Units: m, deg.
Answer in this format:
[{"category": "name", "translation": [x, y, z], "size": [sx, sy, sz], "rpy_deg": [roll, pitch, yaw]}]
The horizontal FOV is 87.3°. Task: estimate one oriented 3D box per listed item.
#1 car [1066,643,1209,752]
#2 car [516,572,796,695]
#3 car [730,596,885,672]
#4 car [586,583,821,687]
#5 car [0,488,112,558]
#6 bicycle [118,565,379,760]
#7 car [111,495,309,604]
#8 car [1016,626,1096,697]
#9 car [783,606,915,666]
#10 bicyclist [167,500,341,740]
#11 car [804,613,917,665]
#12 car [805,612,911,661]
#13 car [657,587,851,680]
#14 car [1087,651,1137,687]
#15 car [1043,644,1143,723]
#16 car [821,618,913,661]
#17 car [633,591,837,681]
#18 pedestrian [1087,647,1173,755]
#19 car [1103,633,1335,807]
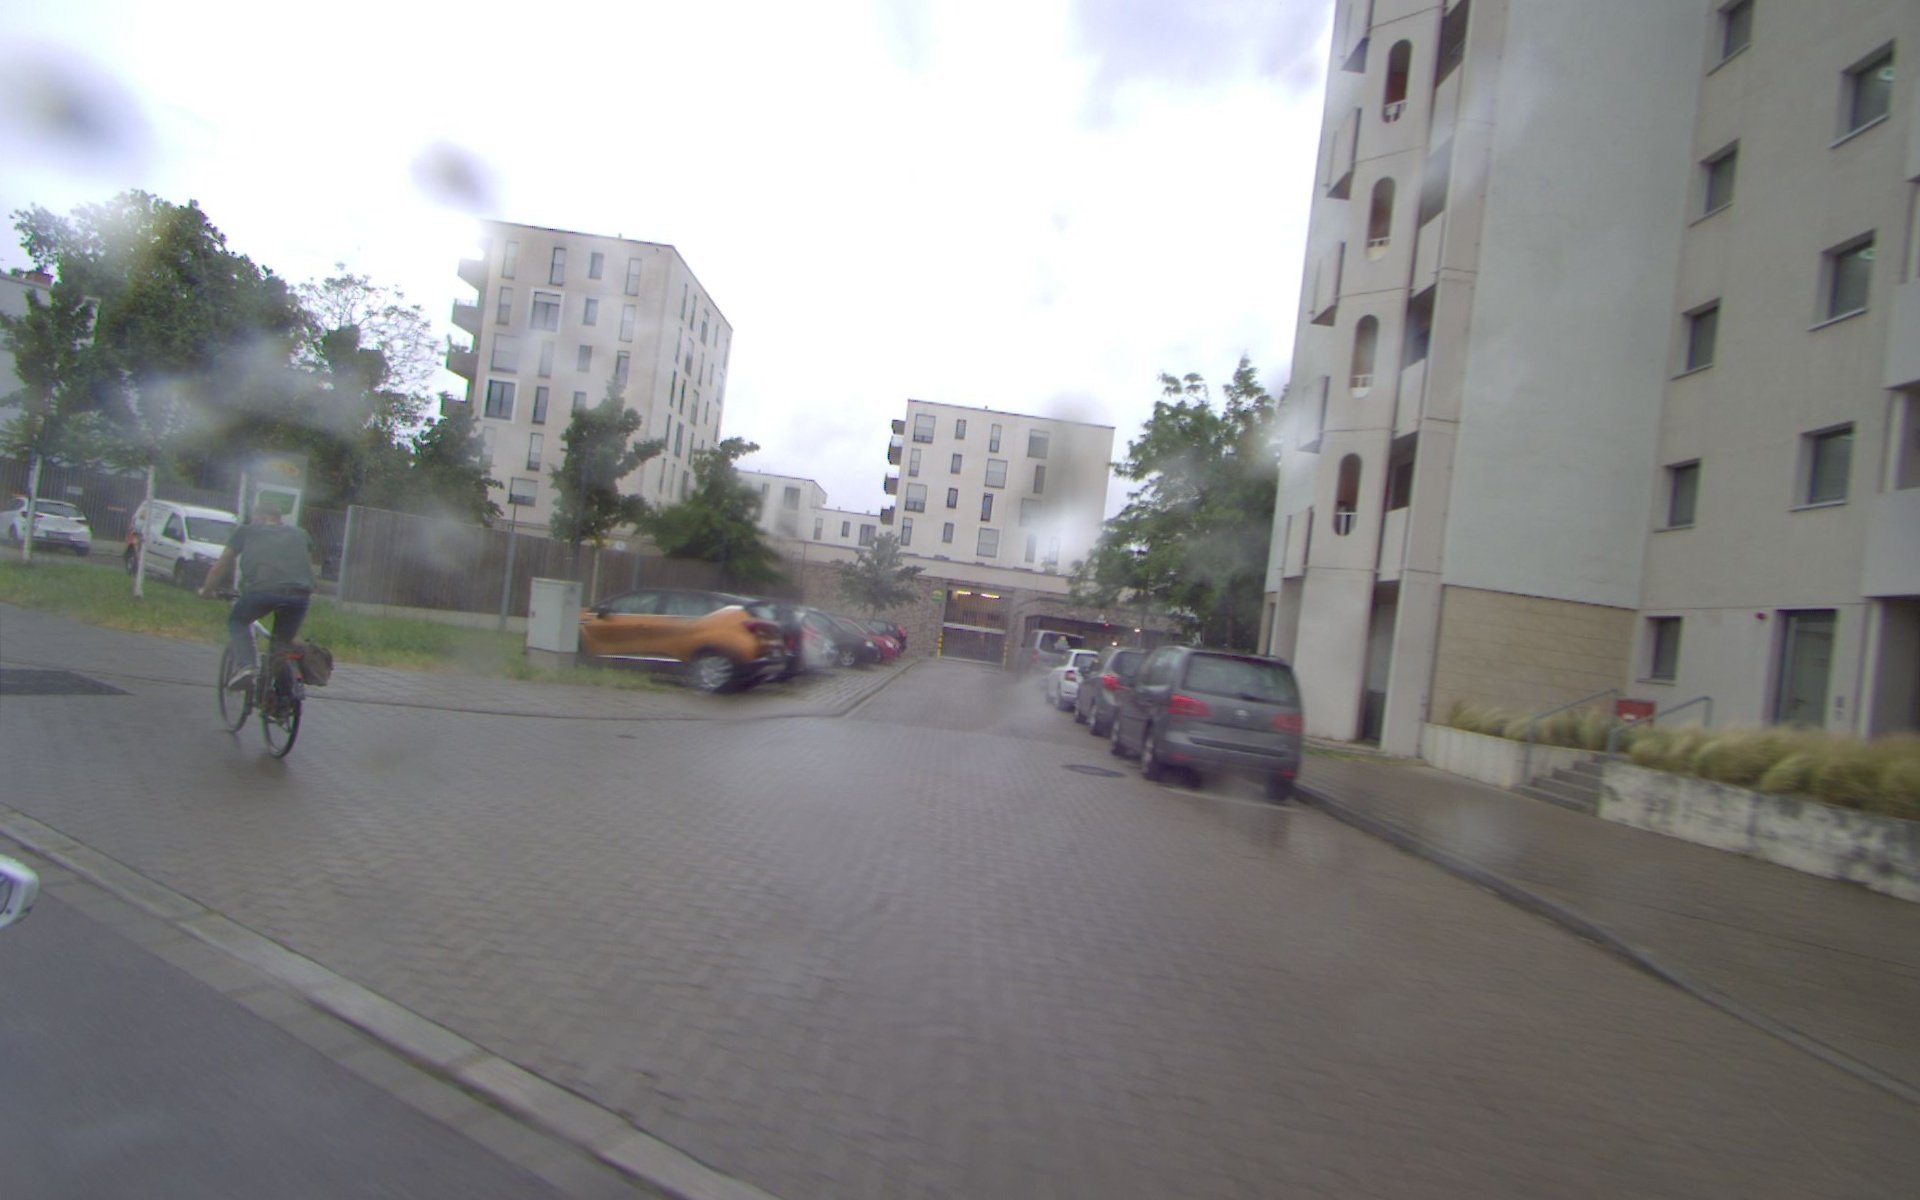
[{"category": "car", "translation": [3.152, 1.711, 18.685], "size": [1.782, 1.550, 4.117], "rpy_deg": [8, -3, 1]}, {"category": "car", "translation": [-4.990, 0.576, 16.933], "size": [3.925, 1.457, 2.003], "rpy_deg": [7, -2, 3]}, {"category": "car", "translation": [-4.526, 1.035, 30.491], "size": [4.285, 1.627, 1.970], "rpy_deg": [8, -1, -3]}, {"category": "car", "translation": [-4.938, 0.708, 19.778], "size": [3.925, 1.457, 2.003], "rpy_deg": [7, -2, 3]}, {"category": "car", "translation": [-26.968, -2.323, 29.542], "size": [4.294, 1.552, 1.966], "rpy_deg": [7, -2, 34]}, {"category": "bicycle", "translation": [-5.059, 0.413, 7.122], "size": [1.914, 1.105, 0.538], "rpy_deg": [6, -2, 26]}, {"category": "car", "translation": [-16.964, -1.169, 22.681], "size": [4.818, 1.804, 1.966], "rpy_deg": [7, -2, 34]}, {"category": "car", "translation": [3.122, 2.017, 33.570], "size": [1.959, 1.939, 4.281], "rpy_deg": [8, -3, -1]}, {"category": "car", "translation": [-3.886, 1.290, 35.834], "size": [4.282, 1.447, 1.971], "rpy_deg": [8, -1, 3]}, {"category": "bicyclist", "translation": [-4.994, 0.140, 7.130], "size": [0.758, 1.577, 0.536], "rpy_deg": [6, -2, 25]}, {"category": "car", "translation": [-3.741, 1.514, 38.416], "size": [3.925, 1.457, 2.002], "rpy_deg": [7, -2, 2]}, {"category": "car", "translation": [-4.119, 1.499, 41.129], "size": [3.925, 1.457, 2.002], "rpy_deg": [7, -2, 2]}, {"category": "car", "translation": [-5.032, 0.835, 25.087], "size": [4.285, 1.605, 1.970], "rpy_deg": [8, -1, -3]}, {"category": "car", "translation": [8.475, 3.813, 56.473], "size": [1.963, 1.703, 4.003], "rpy_deg": [7, -3, -1]}, {"category": "car", "translation": [3.117, 1.955, 24.295], "size": [1.782, 1.491, 3.801], "rpy_deg": [8, -3, 1]}, {"category": "car", "translation": [-4.244, 1.817, 46.343], "size": [3.926, 1.457, 2.002], "rpy_deg": [7, -2, 0]}, {"category": "car", "translation": [-4.943, 0.823, 22.549], "size": [3.925, 1.457, 2.003], "rpy_deg": [7, -2, 3]}, {"category": "pedestrian", "translation": [2.671, 1.573, 15.925], "size": [1.074, 1.535, 0.839], "rpy_deg": [7, -2, 2]}, {"category": "car", "translation": [3.114, 1.404, 13.005], "size": [1.782, 1.634, 4.117], "rpy_deg": [8, -3, 1]}]
